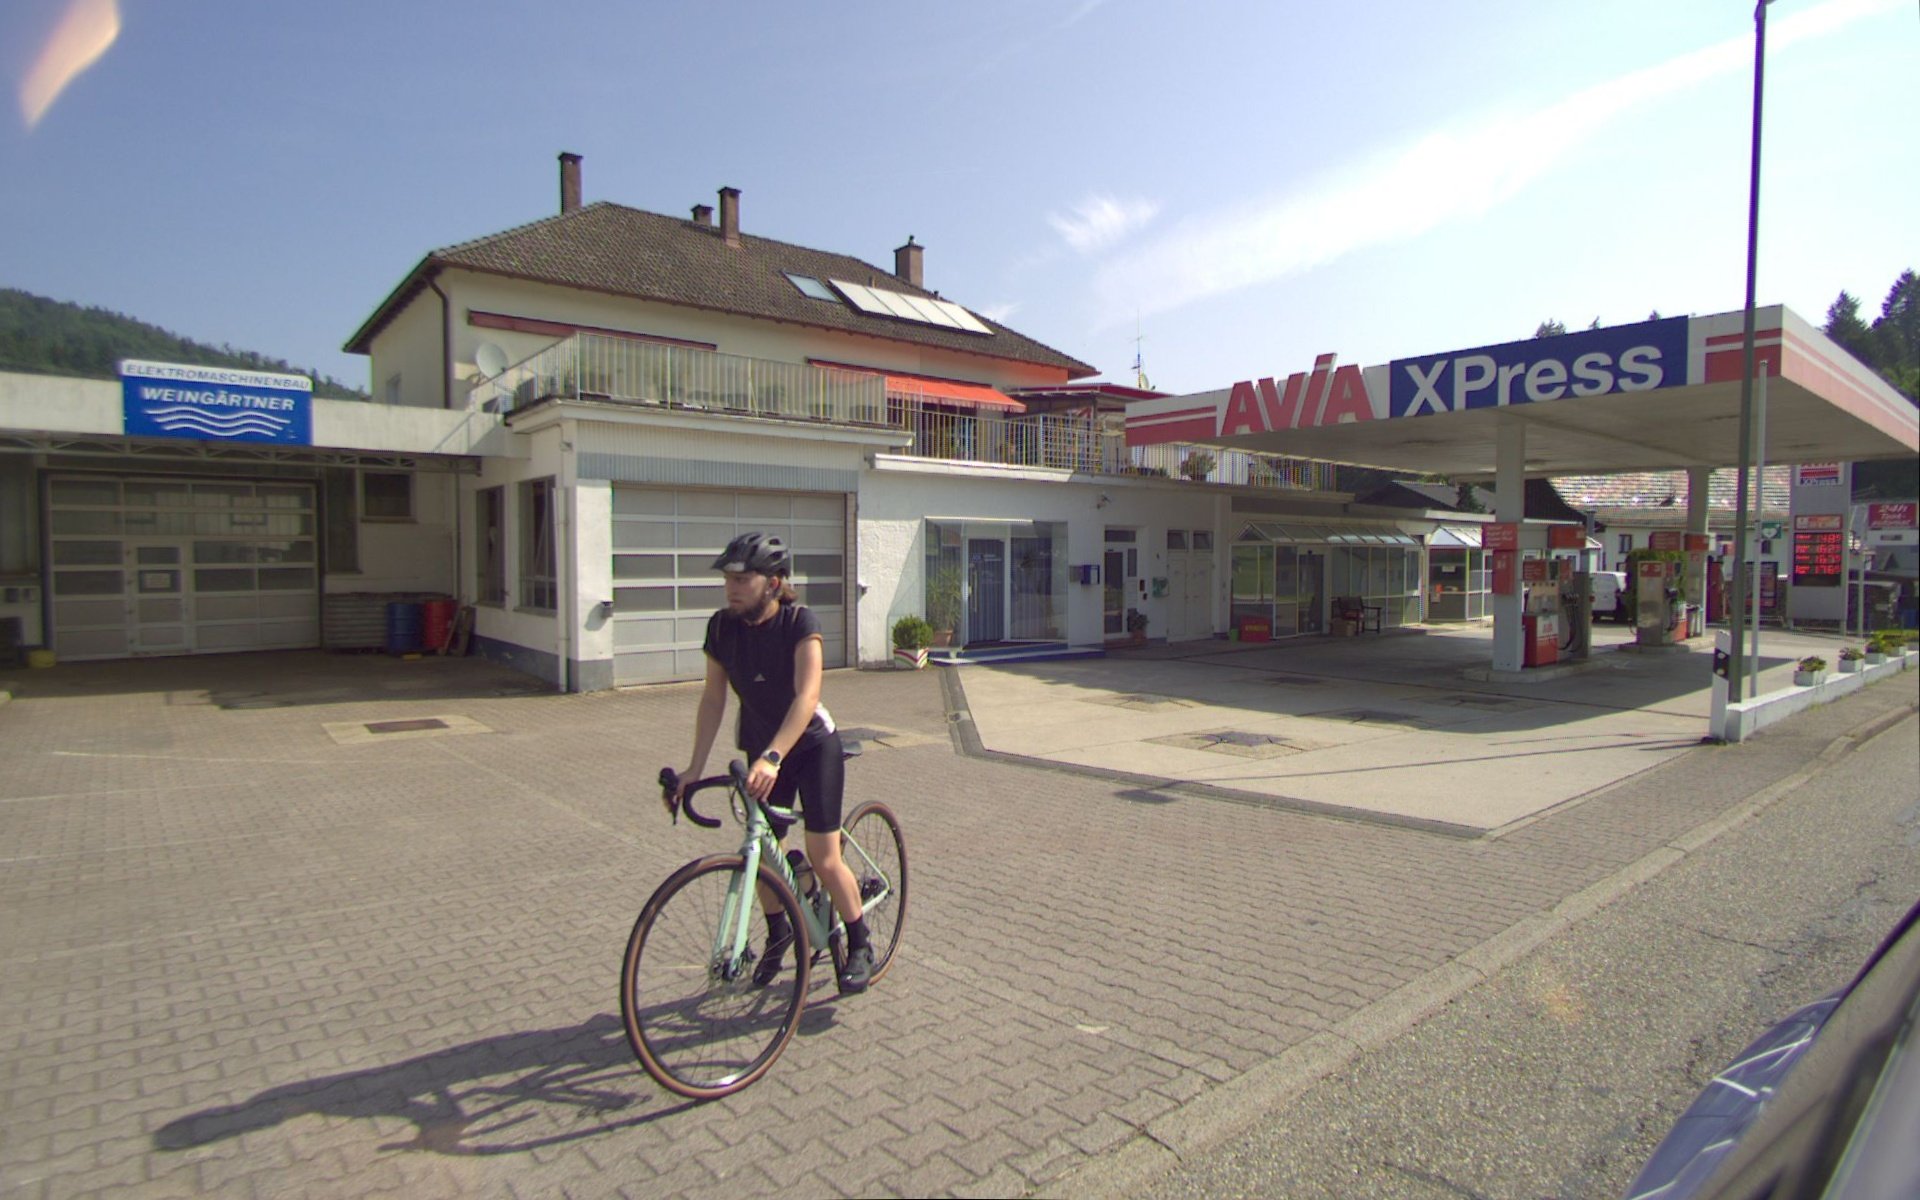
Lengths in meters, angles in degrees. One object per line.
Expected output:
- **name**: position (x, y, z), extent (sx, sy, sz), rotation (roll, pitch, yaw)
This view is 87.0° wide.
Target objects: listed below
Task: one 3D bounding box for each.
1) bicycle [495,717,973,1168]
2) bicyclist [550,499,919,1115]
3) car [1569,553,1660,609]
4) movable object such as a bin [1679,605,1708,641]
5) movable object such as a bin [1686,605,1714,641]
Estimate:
- **bicycle**: position (-0.605, 0.968, 3.554), extent (0.682, 0.930, 1.935), rotation (0, -2, 21)
- **bicyclist**: position (-0.678, 0.568, 3.397), extent (0.682, 1.654, 1.132), rotation (0, -2, 21)
- **car**: position (22.803, -0.672, 35.210), extent (3.932, 1.838, 1.682), rotation (-2, 1, -42)
- **movable object such as a bin**: position (17.979, 0.563, 24.794), extent (0.488, 0.856, 0.480), rotation (0, 1, -43)
- **movable object such as a bin**: position (18.382, 0.560, 25.136), extent (0.519, 0.856, 0.480), rotation (0, 1, -43)
